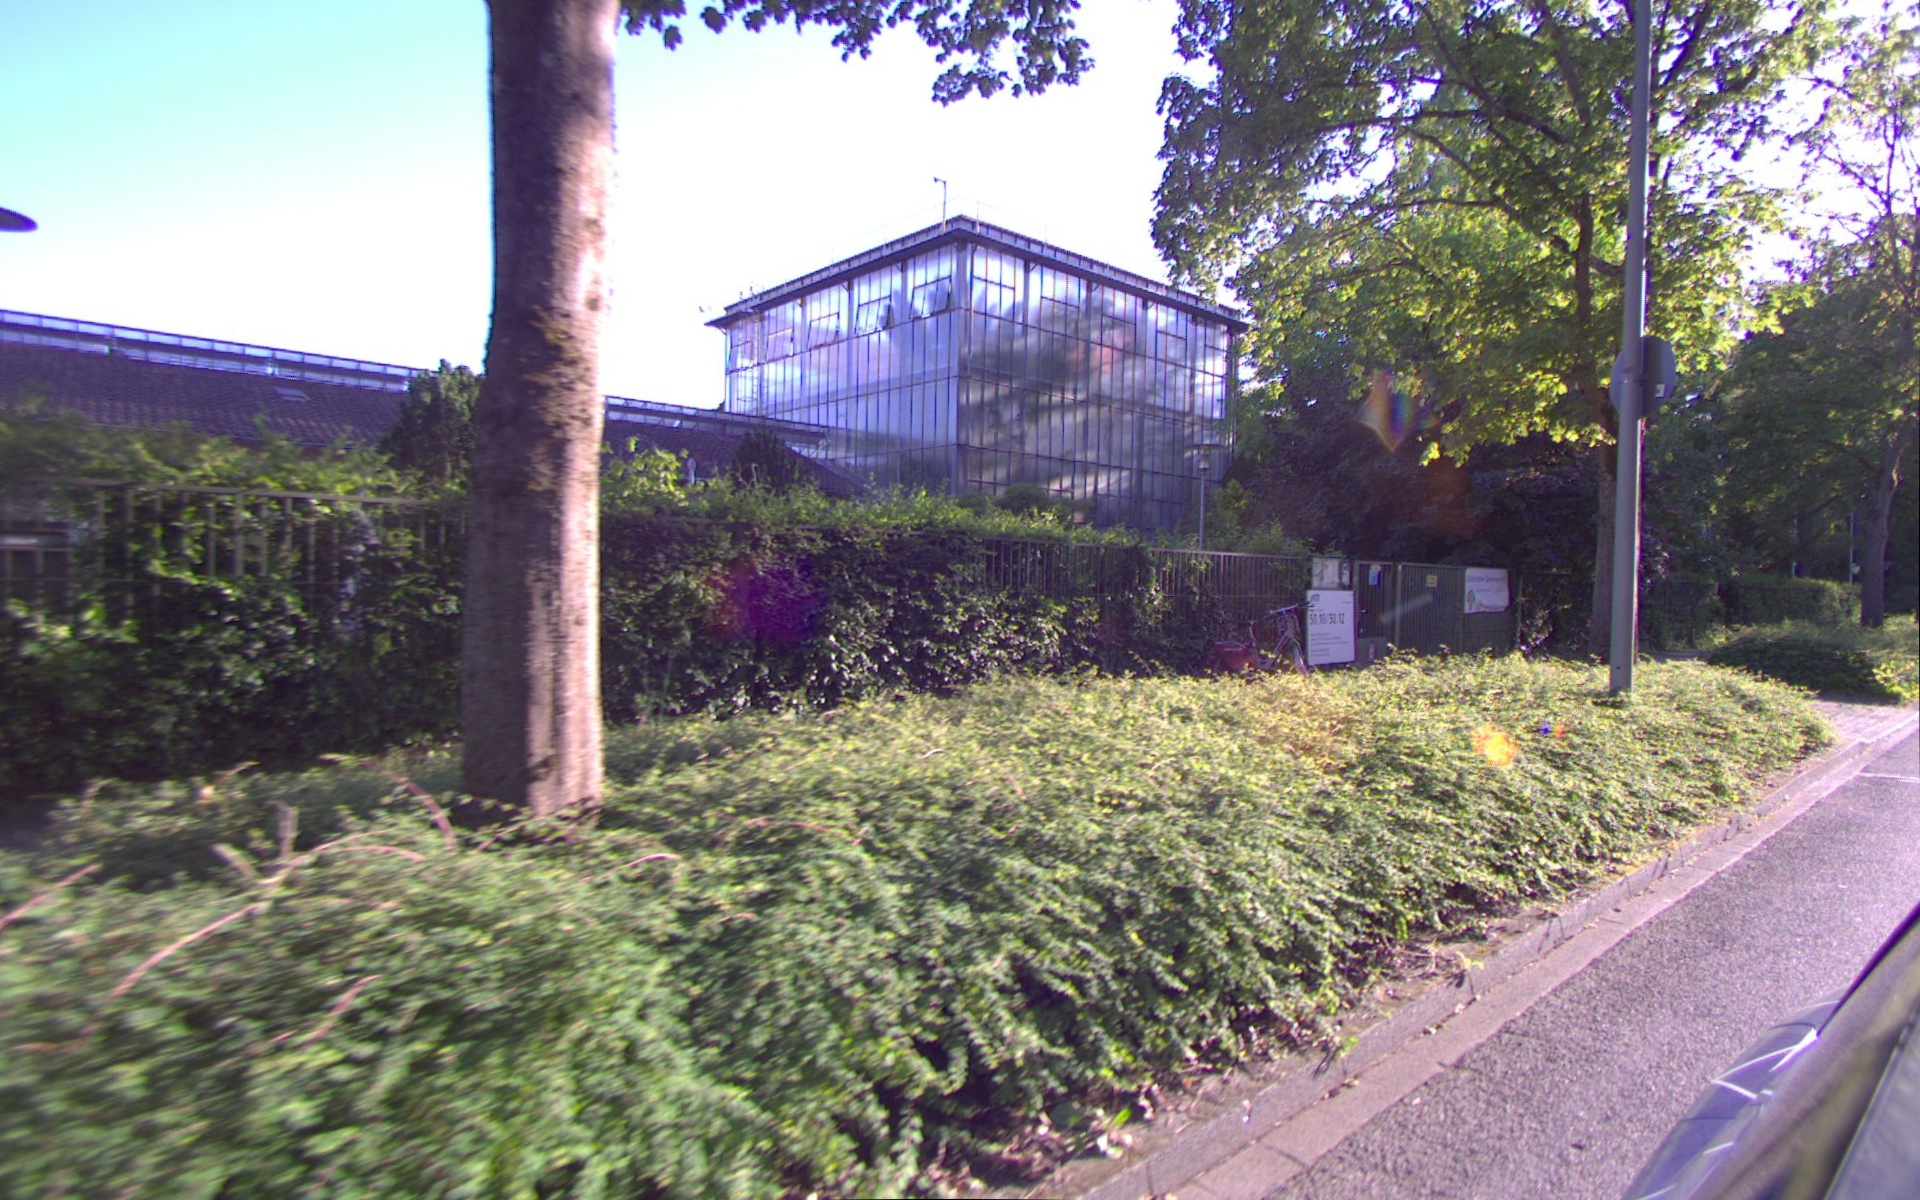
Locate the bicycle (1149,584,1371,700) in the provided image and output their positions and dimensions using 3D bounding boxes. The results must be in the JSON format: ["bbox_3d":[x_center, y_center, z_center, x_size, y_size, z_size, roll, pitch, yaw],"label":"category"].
[{"bbox_3d":[3.447,0.477,11.681,2.277,1.215,0.889,2,2,-16],"label":"bicycle"}]
